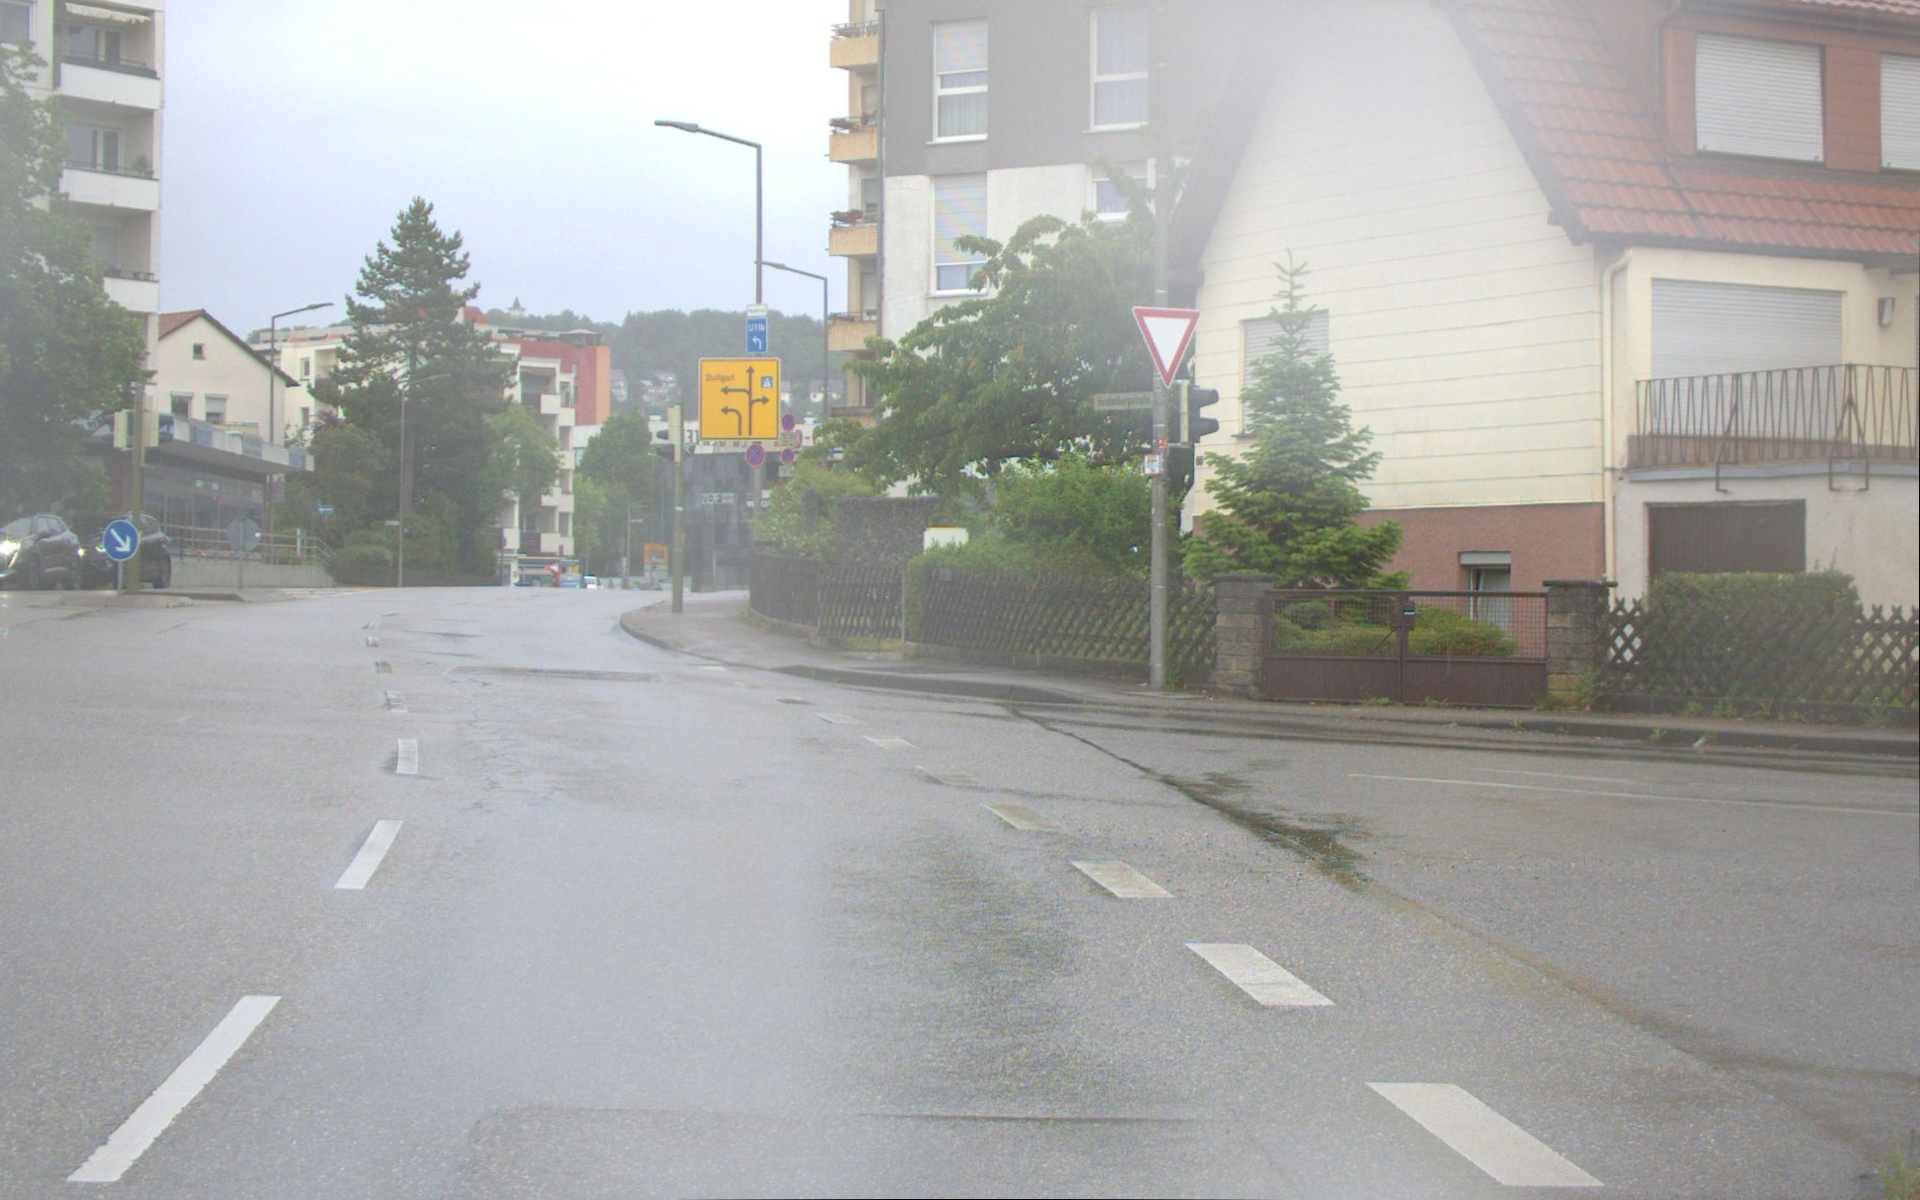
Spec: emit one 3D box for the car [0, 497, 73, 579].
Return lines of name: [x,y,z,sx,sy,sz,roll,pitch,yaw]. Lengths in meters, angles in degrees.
car: [-18.405,-1.184,65.768,1.967,1.507,4.000,1,1,-2]

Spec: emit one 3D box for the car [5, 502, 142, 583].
car: [-18.338,-1.183,71.269,1.879,1.592,4.185,1,1,-2]
